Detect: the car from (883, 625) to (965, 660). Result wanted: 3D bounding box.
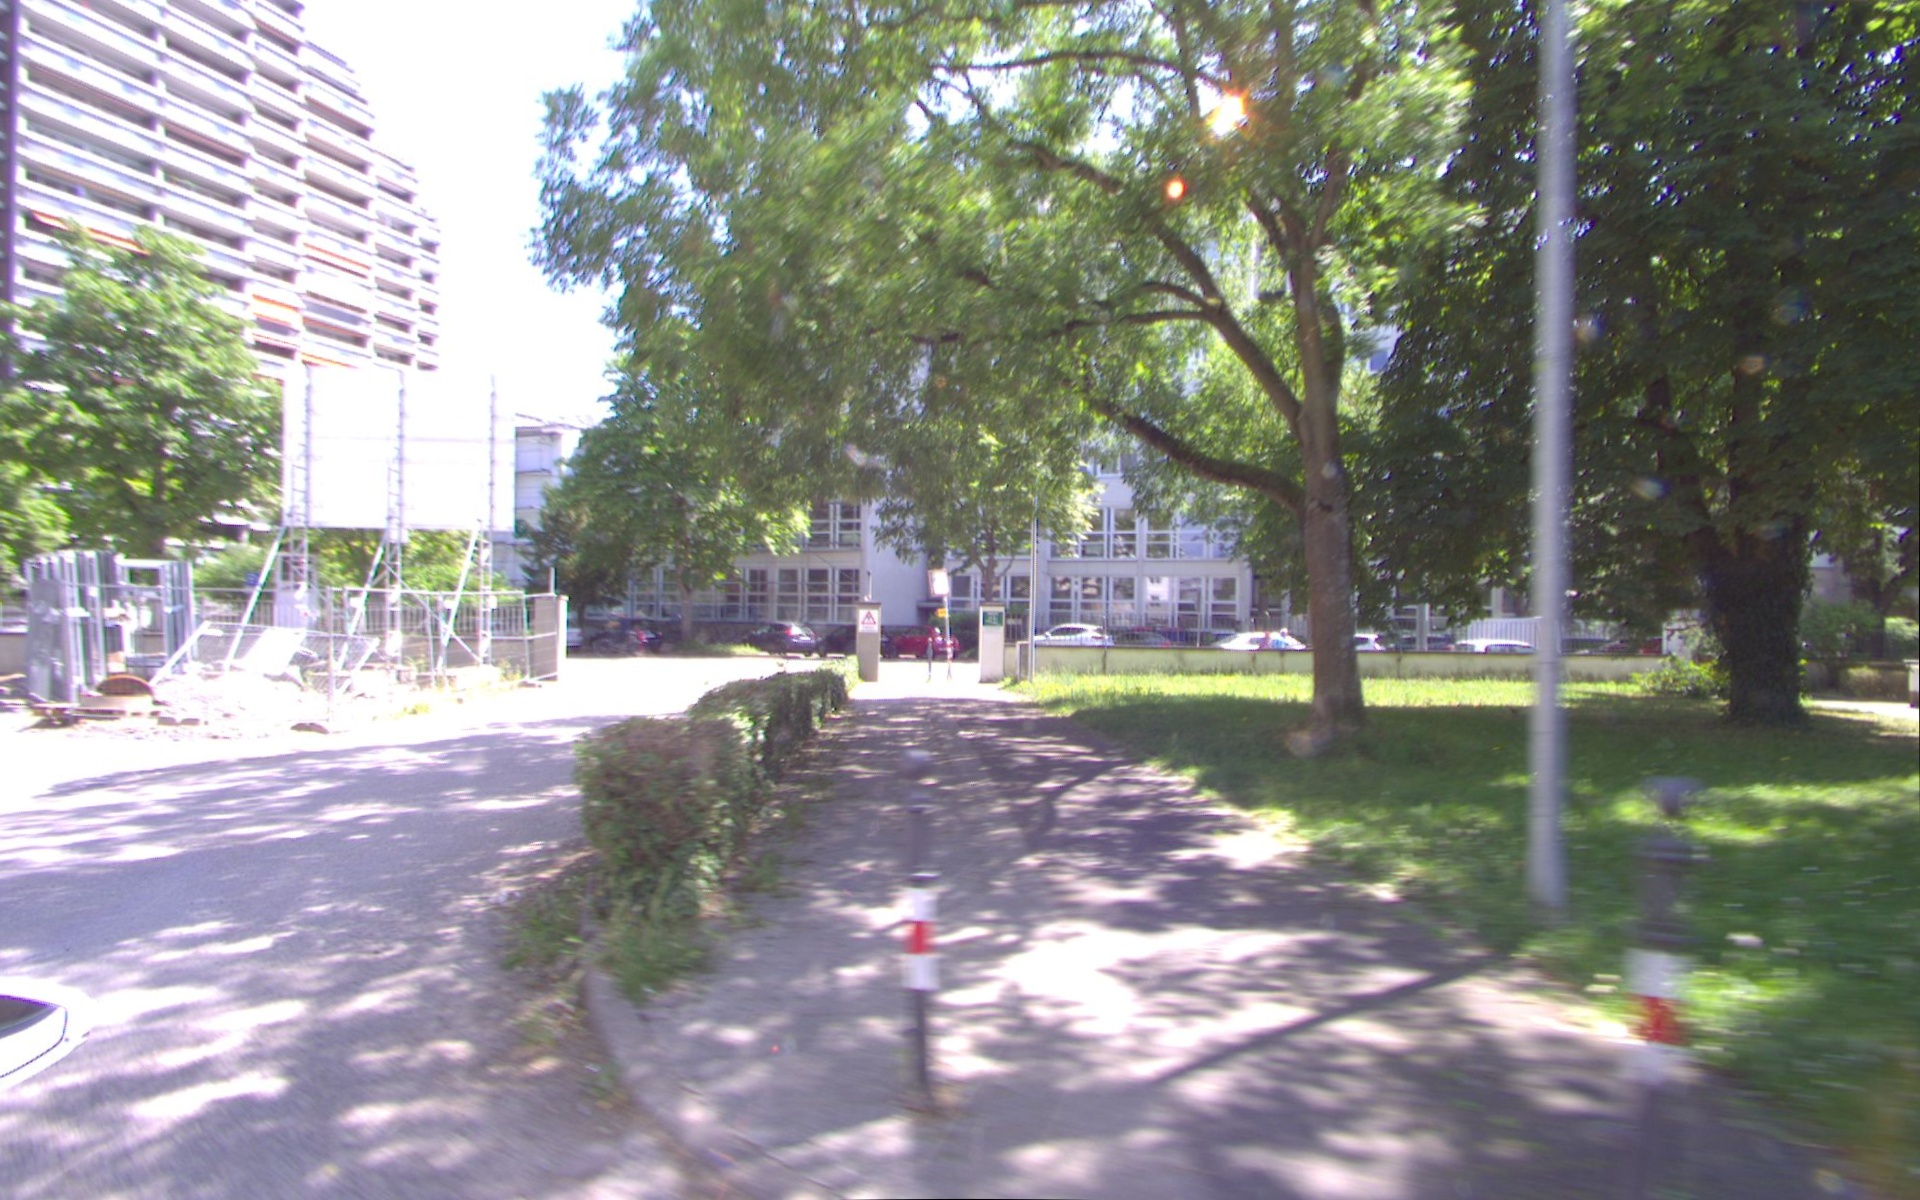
[{"bbox_3d":[-1.638,1.862,44.296,3.564,1.455,1.598,-1,-1,43],"label":"car"}]

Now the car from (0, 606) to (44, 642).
[{"bbox_3d":[-38.491,0.976,40.657,3.638,1.405,1.624,-1,-2,43],"label":"car"}]

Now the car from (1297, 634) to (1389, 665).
[{"bbox_3d":[17.631,2.263,46.129,3.694,1.307,1.603,0,-1,35],"label":"car"}]

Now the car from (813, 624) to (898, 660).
[{"bbox_3d":[-4.599,1.808,43.812,3.634,1.464,1.600,0,-1,40],"label":"car"}]

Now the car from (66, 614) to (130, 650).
[{"bbox_3d":[-35.166,1.300,40.825,3.638,1.405,1.624,-1,-2,43],"label":"car"}]

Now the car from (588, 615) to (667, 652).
[{"bbox_3d":[-14.255,1.417,42.874,3.636,1.482,1.625,-1,-1,42],"label":"car"}]

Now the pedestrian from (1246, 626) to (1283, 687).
[{"bbox_3d":[8.161,1.512,26.853,0.718,1.609,0.741,1,-3,-3],"label":"pedestrian"}]

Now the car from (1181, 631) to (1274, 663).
[{"bbox_3d":[11.906,2.089,44.704,3.705,1.322,1.598,-1,-2,44],"label":"car"}]

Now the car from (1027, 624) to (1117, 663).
[{"bbox_3d":[4.972,1.919,44.599,3.697,1.641,1.602,0,-1,37],"label":"car"}]

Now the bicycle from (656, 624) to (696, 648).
[{"bbox_3d":[-14.467,1.818,51.130,0.769,1.172,2.381,0,-1,18],"label":"bicycle"}]

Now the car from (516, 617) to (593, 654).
[{"bbox_3d":[-17.273,1.492,42.612,3.636,1.482,1.625,-1,-1,42],"label":"car"}]

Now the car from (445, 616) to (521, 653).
[{"bbox_3d":[-20.027,1.425,41.977,3.636,1.482,1.625,-1,-1,42],"label":"car"}]

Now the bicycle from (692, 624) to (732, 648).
[{"bbox_3d":[-12.506,1.831,50.573,0.769,1.172,2.381,0,-1,18],"label":"bicycle"}]

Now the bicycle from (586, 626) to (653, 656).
[{"bbox_3d":[-13.488,1.635,39.758,2.394,1.167,0.785,1,0,-10],"label":"bicycle"}]

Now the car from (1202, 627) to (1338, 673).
[{"bbox_3d":[10.601,1.704,34.395,4.064,1.483,1.765,1,-1,-5],"label":"car"}]

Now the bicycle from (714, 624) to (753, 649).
[{"bbox_3d":[-11.322,1.803,50.183,0.769,1.203,2.429,0,-1,18],"label":"bicycle"}]

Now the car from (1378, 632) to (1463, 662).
[{"bbox_3d":[21.192,2.149,46.078,3.322,1.307,1.524,0,-1,37],"label":"car"}]

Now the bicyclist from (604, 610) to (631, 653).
[{"bbox_3d":[-13.593,1.252,39.751,0.884,1.687,0.858,0,-1,-9],"label":"bicyclist"}]

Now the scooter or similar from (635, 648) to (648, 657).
[{"bbox_3d":[-12.449,2.054,39.100,0.438,0.363,0.365,0,-1,-9],"label":"scooter or similar"}]

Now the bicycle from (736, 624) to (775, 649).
[{"bbox_3d":[-10.157,1.796,49.821,0.769,1.203,2.429,0,-1,18],"label":"bicycle"}]

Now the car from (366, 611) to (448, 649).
[{"bbox_3d":[-22.662,1.222,41.018,3.631,1.482,1.627,0,-1,37],"label":"car"}]

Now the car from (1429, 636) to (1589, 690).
[{"bbox_3d":[16.271,1.863,29.780,3.861,1.483,1.706,1,-1,-5],"label":"car"}]

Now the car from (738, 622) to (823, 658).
[{"bbox_3d":[-7.845,1.722,43.724,3.630,1.482,1.634,0,-1,37],"label":"car"}]

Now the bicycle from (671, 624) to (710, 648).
[{"bbox_3d":[-13.674,1.800,50.896,0.769,1.172,2.381,0,-1,18],"label":"bicycle"}]

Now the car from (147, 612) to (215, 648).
[{"bbox_3d":[-31.827,1.219,40.884,3.638,1.405,1.624,-1,-2,43],"label":"car"}]

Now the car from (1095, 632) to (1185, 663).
[{"bbox_3d":[8.026,2.093,44.889,3.704,1.297,1.598,-1,-2,43],"label":"car"}]

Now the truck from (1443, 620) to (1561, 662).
[{"bbox_3d":[24.767,1.850,45.854,4.586,1.856,1.645,-1,-2,38],"label":"truck"}]

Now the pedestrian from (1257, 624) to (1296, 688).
[{"bbox_3d":[8.095,1.427,25.638,0.719,1.609,0.741,1,-3,-5],"label":"pedestrian"}]

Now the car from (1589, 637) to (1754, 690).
[{"bbox_3d":[21.294,1.888,30.050,3.861,1.483,1.706,1,-1,-5],"label":"car"}]

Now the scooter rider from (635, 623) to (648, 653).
[{"bbox_3d":[-12.446,1.478,39.106,0.409,1.148,0.359,0,-1,-9],"label":"scooter rider"}]

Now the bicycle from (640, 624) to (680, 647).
[{"bbox_3d":[-15.396,1.809,51.442,0.769,1.172,2.381,0,-1,18],"label":"bicycle"}]
